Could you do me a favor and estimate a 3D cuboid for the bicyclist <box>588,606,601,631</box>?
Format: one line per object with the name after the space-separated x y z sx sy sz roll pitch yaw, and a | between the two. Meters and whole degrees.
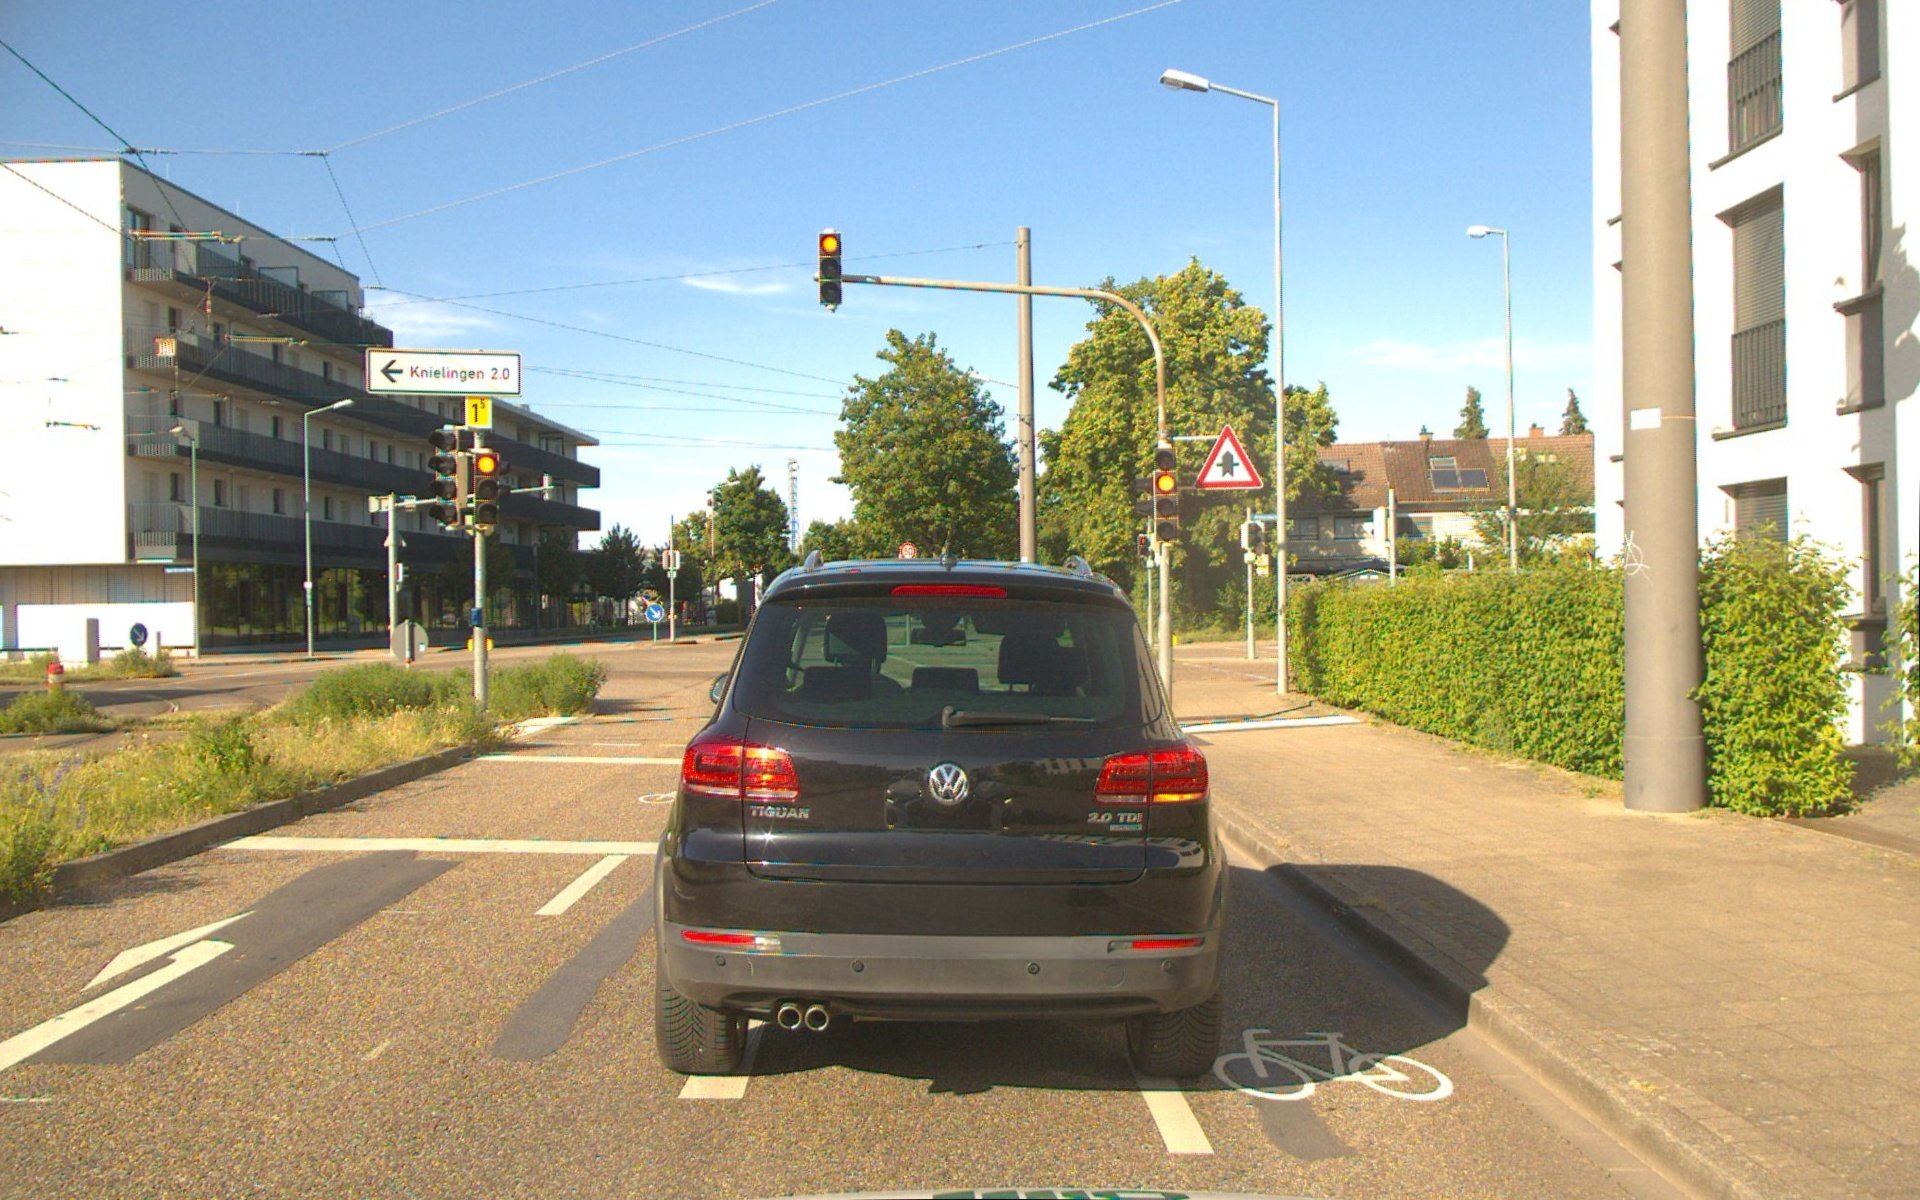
-18.507 0.952 83.750 0.464 1.245 0.713 0 0 3 | bicyclist

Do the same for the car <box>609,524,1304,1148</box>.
-0.070 0.632 6.468 1.867 1.671 3.998 0 0 -2 | car

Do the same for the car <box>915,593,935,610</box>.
-3.092 0.113 146.917 1.716 1.411 3.998 0 0 -2 | car

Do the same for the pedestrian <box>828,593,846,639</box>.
-4.441 0.567 59.795 0.590 1.668 0.529 0 0 4 | pedestrian

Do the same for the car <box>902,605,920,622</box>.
-5.150 1.392 173.712 1.621 1.668 4.001 0 0 1 | car

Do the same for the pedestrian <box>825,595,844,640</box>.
-4.484 0.611 59.125 0.590 1.592 0.529 0 0 4 | pedestrian

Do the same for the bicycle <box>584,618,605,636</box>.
-18.510 1.352 83.814 0.485 0.863 2.079 0 0 3 | bicycle
